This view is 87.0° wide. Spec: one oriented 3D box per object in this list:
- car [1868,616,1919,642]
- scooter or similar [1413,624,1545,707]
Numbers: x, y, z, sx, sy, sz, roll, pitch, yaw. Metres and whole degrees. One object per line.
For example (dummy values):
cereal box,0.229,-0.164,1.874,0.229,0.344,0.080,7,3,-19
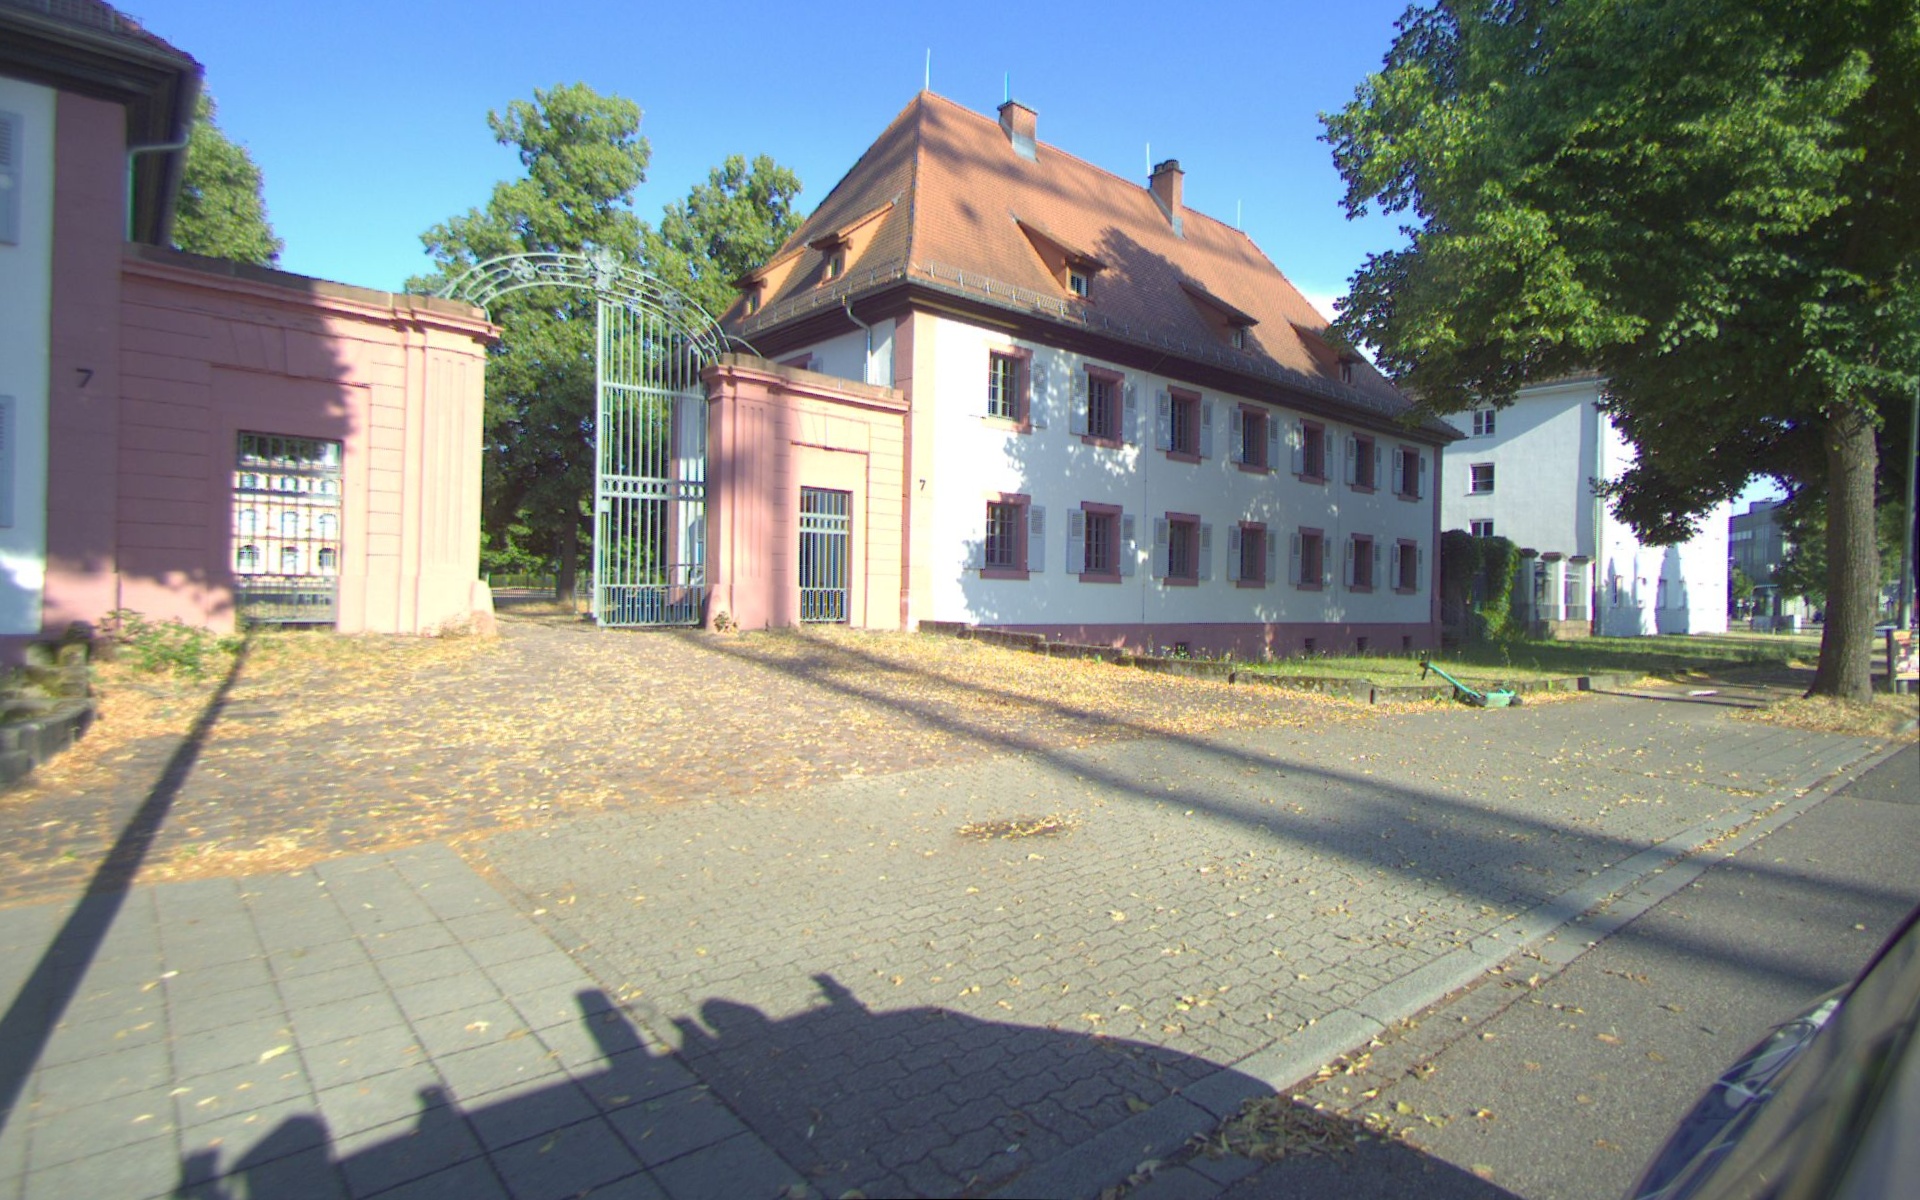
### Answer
car,62.673,1.915,66.760,1.728,1.441,3.627,4,-7,-26
scooter or similar,7.207,0.882,14.074,1.045,0.551,1.236,-1,27,-39
